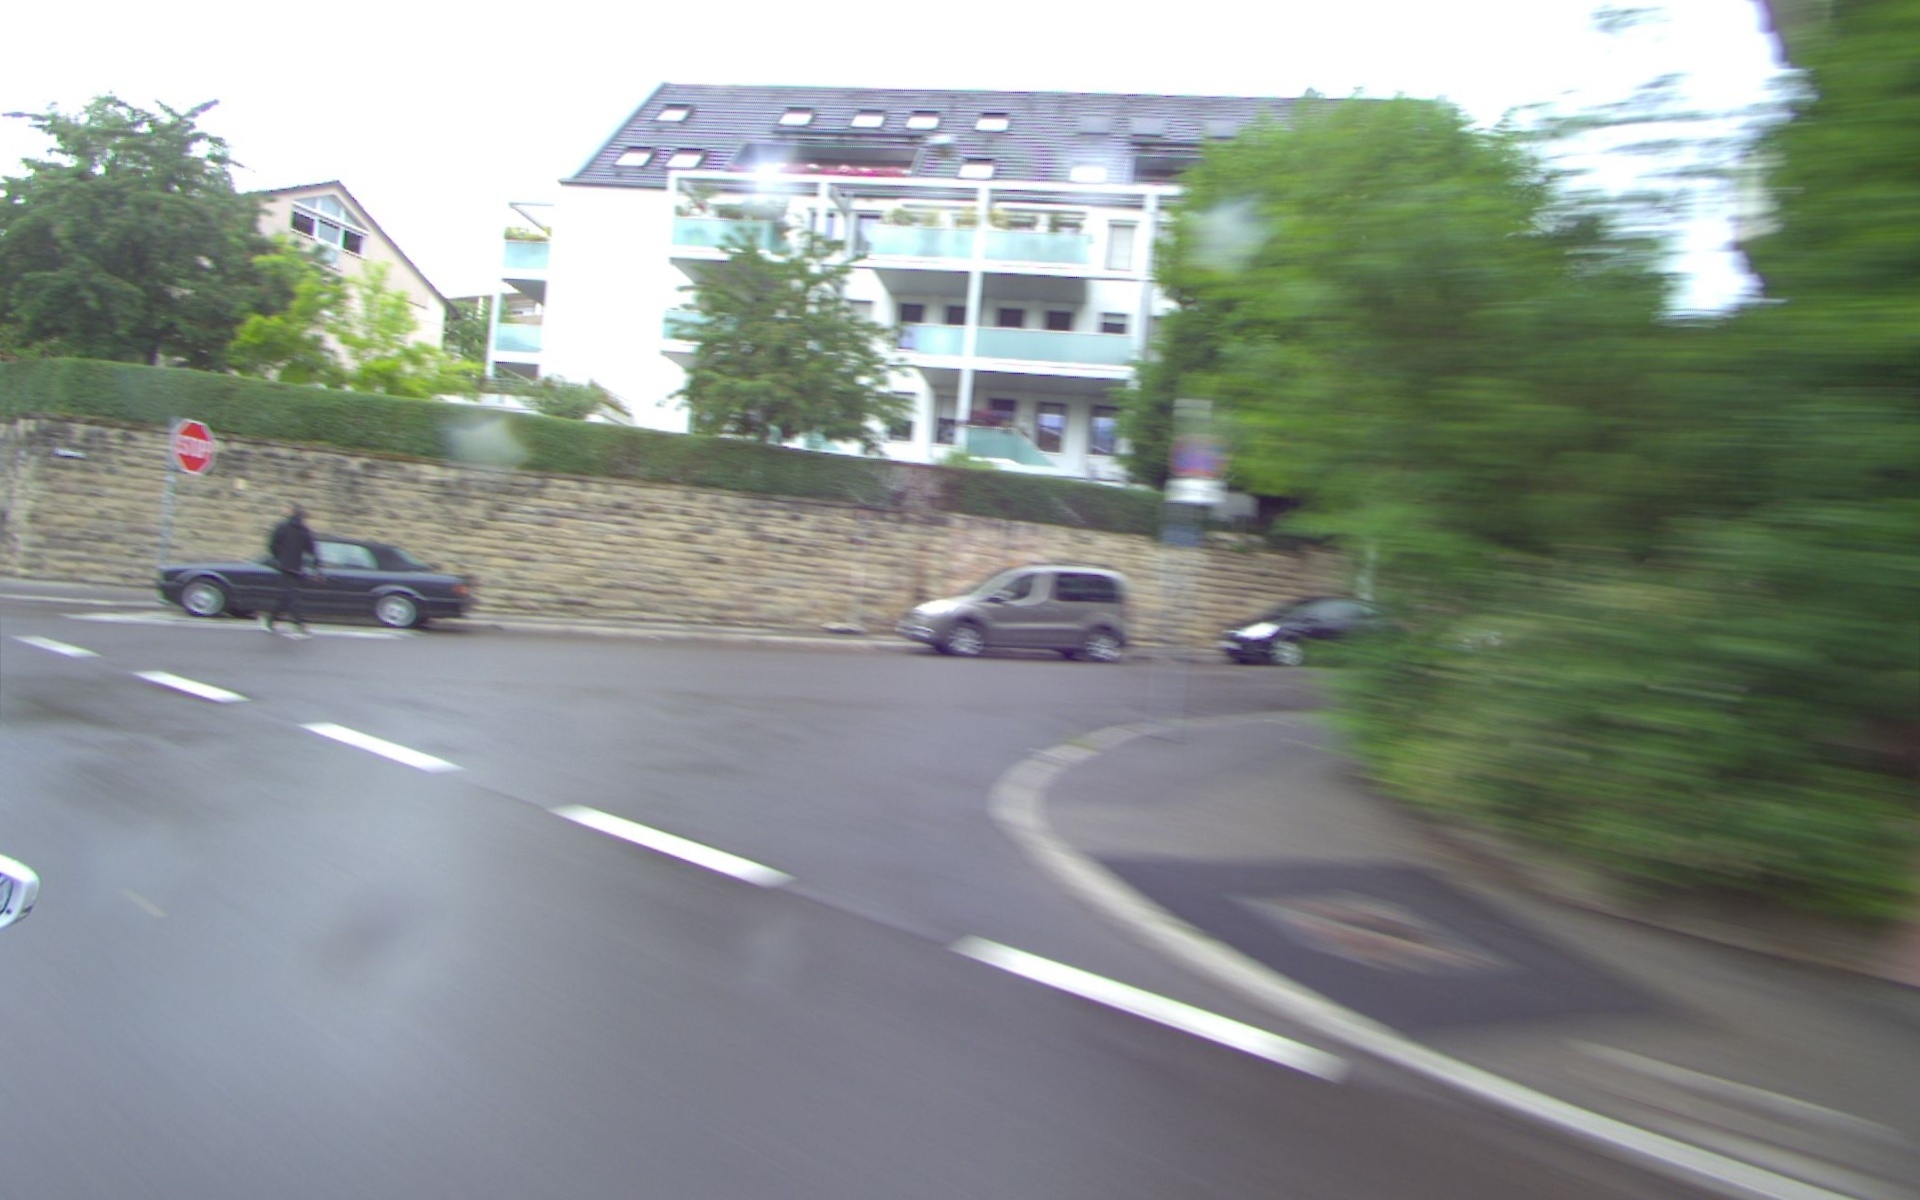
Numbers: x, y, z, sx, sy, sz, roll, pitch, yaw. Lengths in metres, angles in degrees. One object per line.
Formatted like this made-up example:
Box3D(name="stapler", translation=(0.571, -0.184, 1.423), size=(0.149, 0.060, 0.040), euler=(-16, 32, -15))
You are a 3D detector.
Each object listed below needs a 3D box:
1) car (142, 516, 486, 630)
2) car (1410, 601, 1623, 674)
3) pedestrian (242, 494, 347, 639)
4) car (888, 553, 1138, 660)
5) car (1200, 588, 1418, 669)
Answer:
Box3D(name="car", translation=(-10.027, -0.382, 15.995), size=(4.211, 1.410, 1.746), euler=(4, 0, -17))
Box3D(name="car", translation=(12.482, 0.853, 22.604), size=(4.269, 1.472, 1.679), euler=(2, -1, -17))
Box3D(name="pedestrian", translation=(-8.520, -0.422, 12.886), size=(0.890, 1.738, 0.723), euler=(7, 2, 32))
Box3D(name="car", translation=(0.967, 0.135, 19.156), size=(4.343, 1.763, 1.820), euler=(3, 1, -16))
Box3D(name="car", translation=(7.278, 0.589, 21.087), size=(3.934, 1.473, 1.794), euler=(3, 1, -15))
